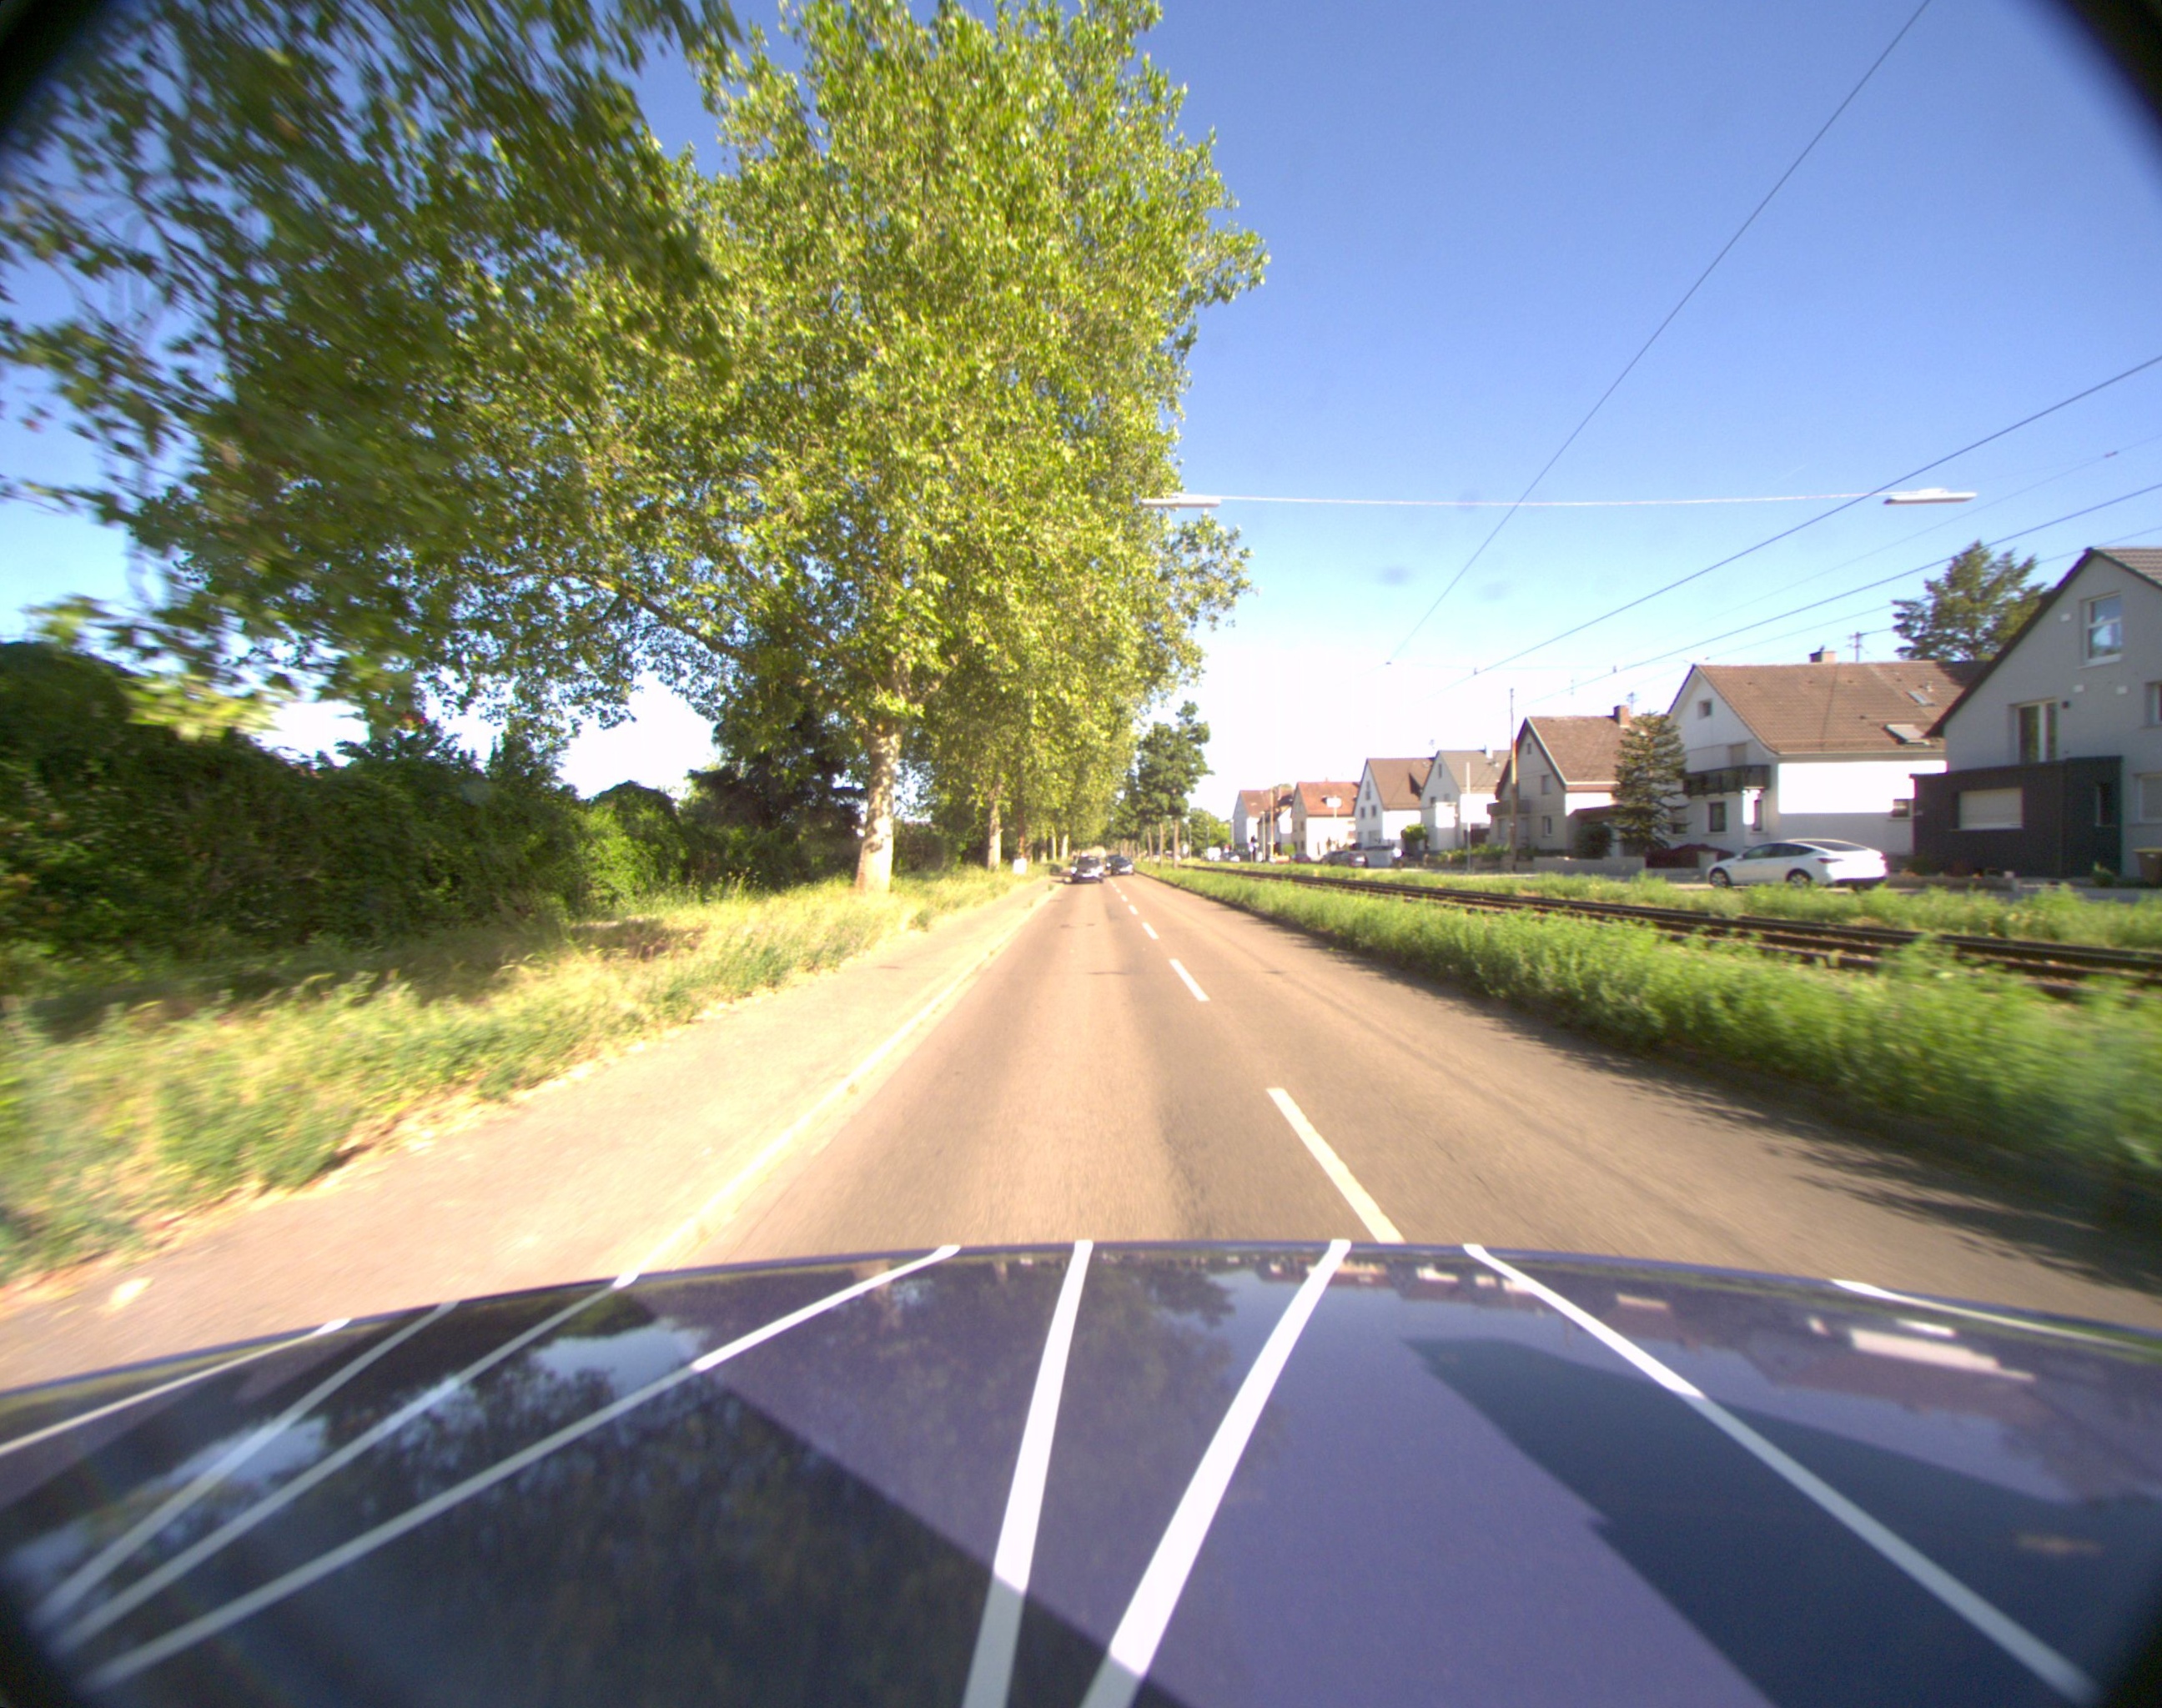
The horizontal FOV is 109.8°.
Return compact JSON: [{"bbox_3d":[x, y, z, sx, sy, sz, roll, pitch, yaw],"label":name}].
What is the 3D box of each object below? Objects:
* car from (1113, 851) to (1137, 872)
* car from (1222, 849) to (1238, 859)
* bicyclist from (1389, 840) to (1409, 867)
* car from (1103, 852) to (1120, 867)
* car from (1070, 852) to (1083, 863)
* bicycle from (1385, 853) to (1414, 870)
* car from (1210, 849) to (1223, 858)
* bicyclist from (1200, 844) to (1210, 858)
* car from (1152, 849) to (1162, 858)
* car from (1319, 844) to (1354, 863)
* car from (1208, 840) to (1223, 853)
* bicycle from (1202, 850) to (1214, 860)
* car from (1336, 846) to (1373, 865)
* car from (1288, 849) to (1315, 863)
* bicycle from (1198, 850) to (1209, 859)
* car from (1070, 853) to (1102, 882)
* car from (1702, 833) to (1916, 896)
[{"bbox_3d":[3.358,0.575,58.867,1.692,1.499,3.582,-2,1,1],"label":"car"},{"bbox_3d":[22.939,-0.027,117.007,1.791,1.497,4.000,-2,1,1],"label":"car"},{"bbox_3d":[20.011,-0.025,47.771,0.854,1.665,0.837,-2,1,1],"label":"bicyclist"},{"bbox_3d":[3.316,0.579,82.197,1.692,1.499,3.582,-2,1,1],"label":"car"},{"bbox_3d":[-0.617,0.498,108.868,1.692,1.499,3.582,-2,1,1],"label":"car"},{"bbox_3d":[20.030,0.462,47.848,0.854,0.946,2.309,-2,1,1],"label":"bicycle"},{"bbox_3d":[23.378,-0.083,130.935,1.791,1.497,4.001,-2,1,4],"label":"car"},{"bbox_3d":[20.771,-0.483,127.047,1.310,2.220,1.623,-2,1,1],"label":"bicyclist"},{"bbox_3d":[19.595,-0.143,195.733,2.133,2.023,3.999,-2,1,0],"label":"car"},{"bbox_3d":[22.423,-0.047,66.819,1.802,1.588,4.011,-2,1,1],"label":"car"},{"bbox_3d":[24.008,-1.298,135.837,2.132,2.210,4.001,-2,1,4],"label":"car"},{"bbox_3d":[21.179,0.131,126.723,1.354,1.486,4.000,-2,1,1],"label":"bicycle"},{"bbox_3d":[22.495,0.087,62.608,1.738,1.481,3.756,-2,1,1],"label":"car"},{"bbox_3d":[23.000,0.162,79.255,1.756,1.373,3.823,-2,1,1],"label":"car"},{"bbox_3d":[21.197,0.078,131.820,1.354,1.568,4.000,-2,1,1],"label":"bicycle"},{"bbox_3d":[0.319,0.732,43.698,1.692,1.499,3.582,-2,1,1],"label":"car"},{"bbox_3d":[22.084,0.272,23.406,1.998,1.668,4.839,-2,1,1],"label":"car"}]
